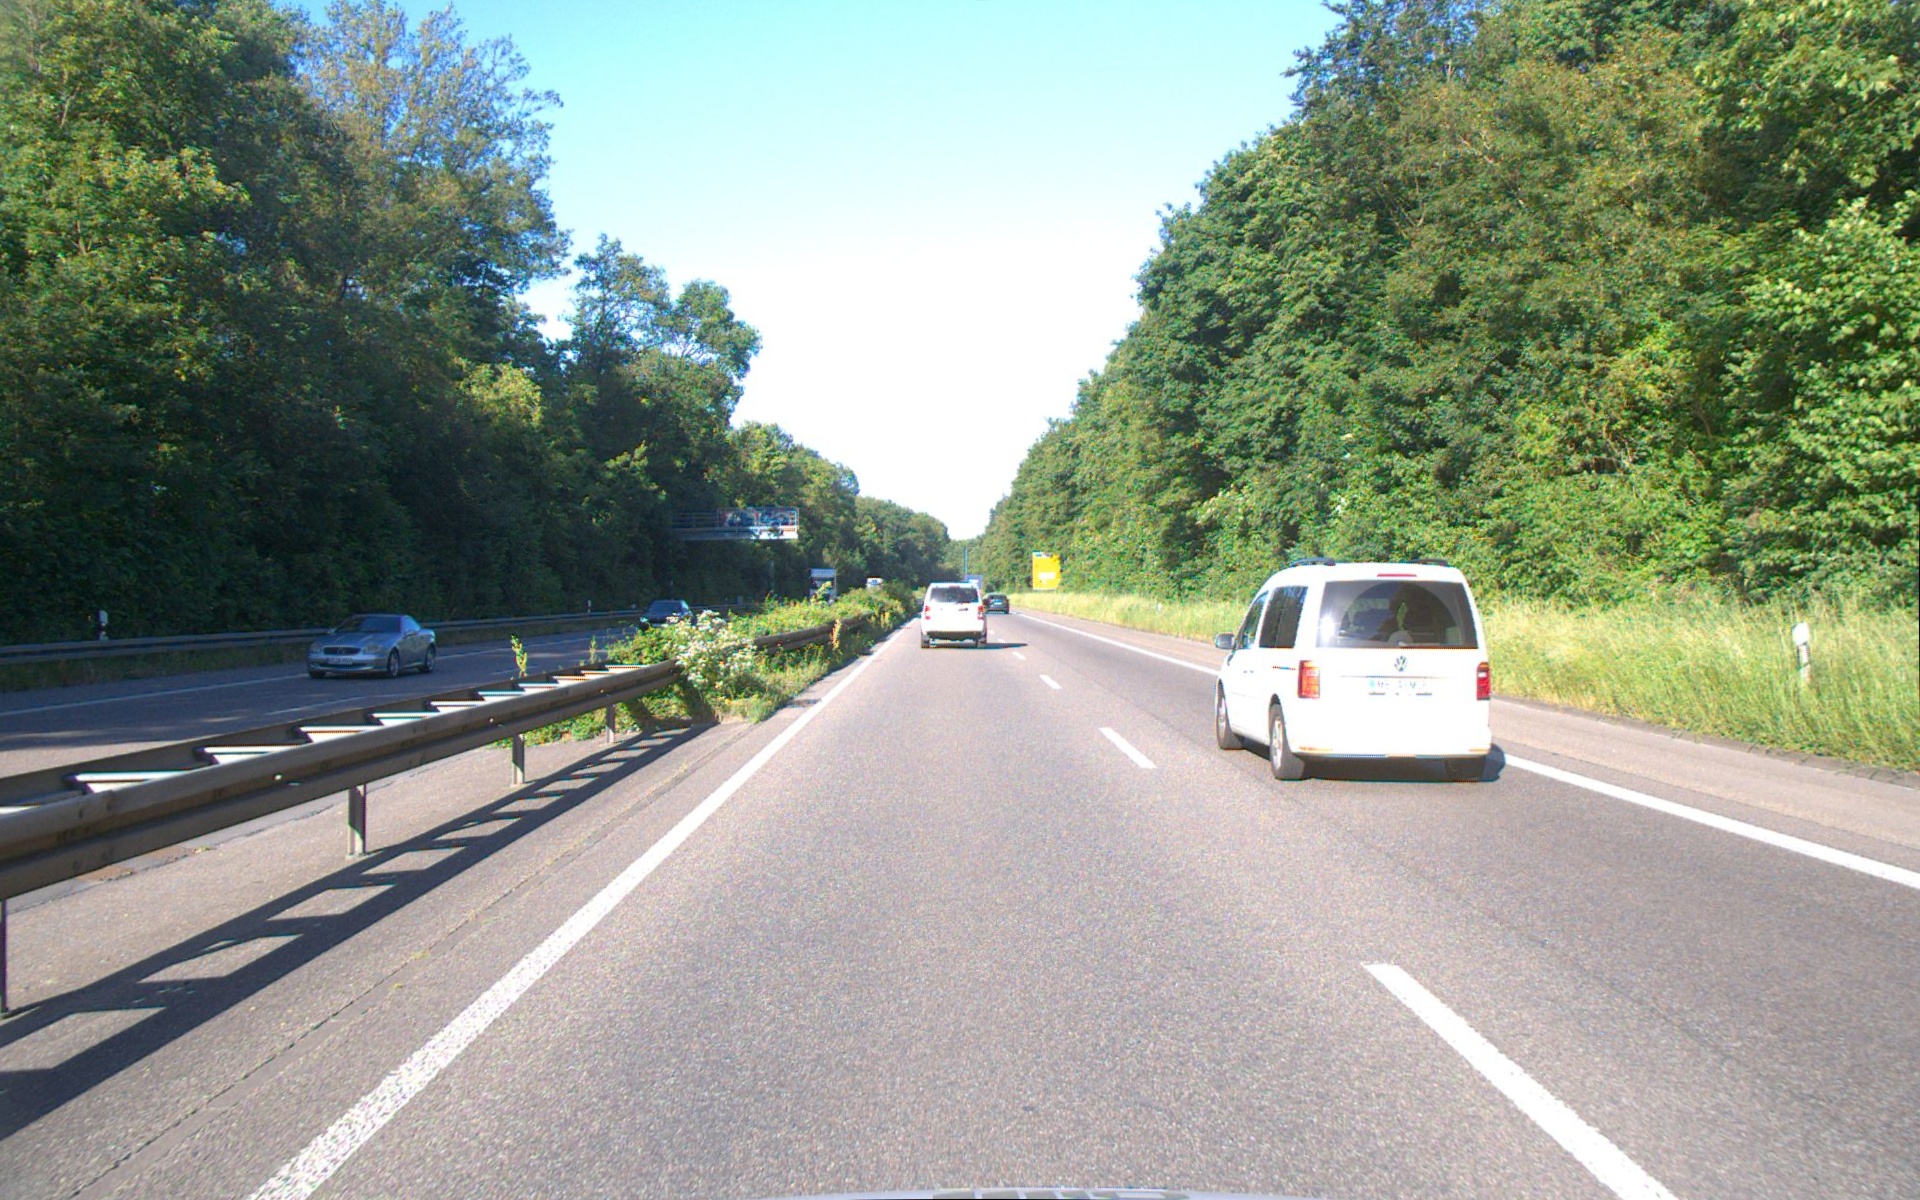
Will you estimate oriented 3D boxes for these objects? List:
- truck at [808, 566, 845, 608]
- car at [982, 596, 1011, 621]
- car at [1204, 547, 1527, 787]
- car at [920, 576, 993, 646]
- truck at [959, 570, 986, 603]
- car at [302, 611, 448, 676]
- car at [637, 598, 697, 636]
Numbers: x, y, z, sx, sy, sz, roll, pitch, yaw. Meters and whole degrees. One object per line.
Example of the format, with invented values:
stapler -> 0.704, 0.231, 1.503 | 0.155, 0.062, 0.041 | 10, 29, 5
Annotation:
truck -> -13.211, -1.201, 164.909 | 2.713, 4.024, 11.466 | 1, 0, 0
car -> 2.698, 0.627, 122.874 | 1.912, 1.813, 4.586 | 1, 0, -1
car -> 3.502, 0.533, 15.195 | 1.762, 1.844, 4.586 | 1, 0, -1
car -> -0.131, 0.303, 46.439 | 1.912, 1.813, 4.586 | 1, 0, -1
truck -> 1.742, -1.855, 235.173 | 3.658, 4.419, 9.303 | 1, 0, 0
car -> -12.268, 0.882, 34.964 | 1.611, 1.244, 4.262 | 0, 0, -1
car -> -12.034, 0.685, 68.131 | 1.698, 1.433, 4.556 | 1, 1, -1
